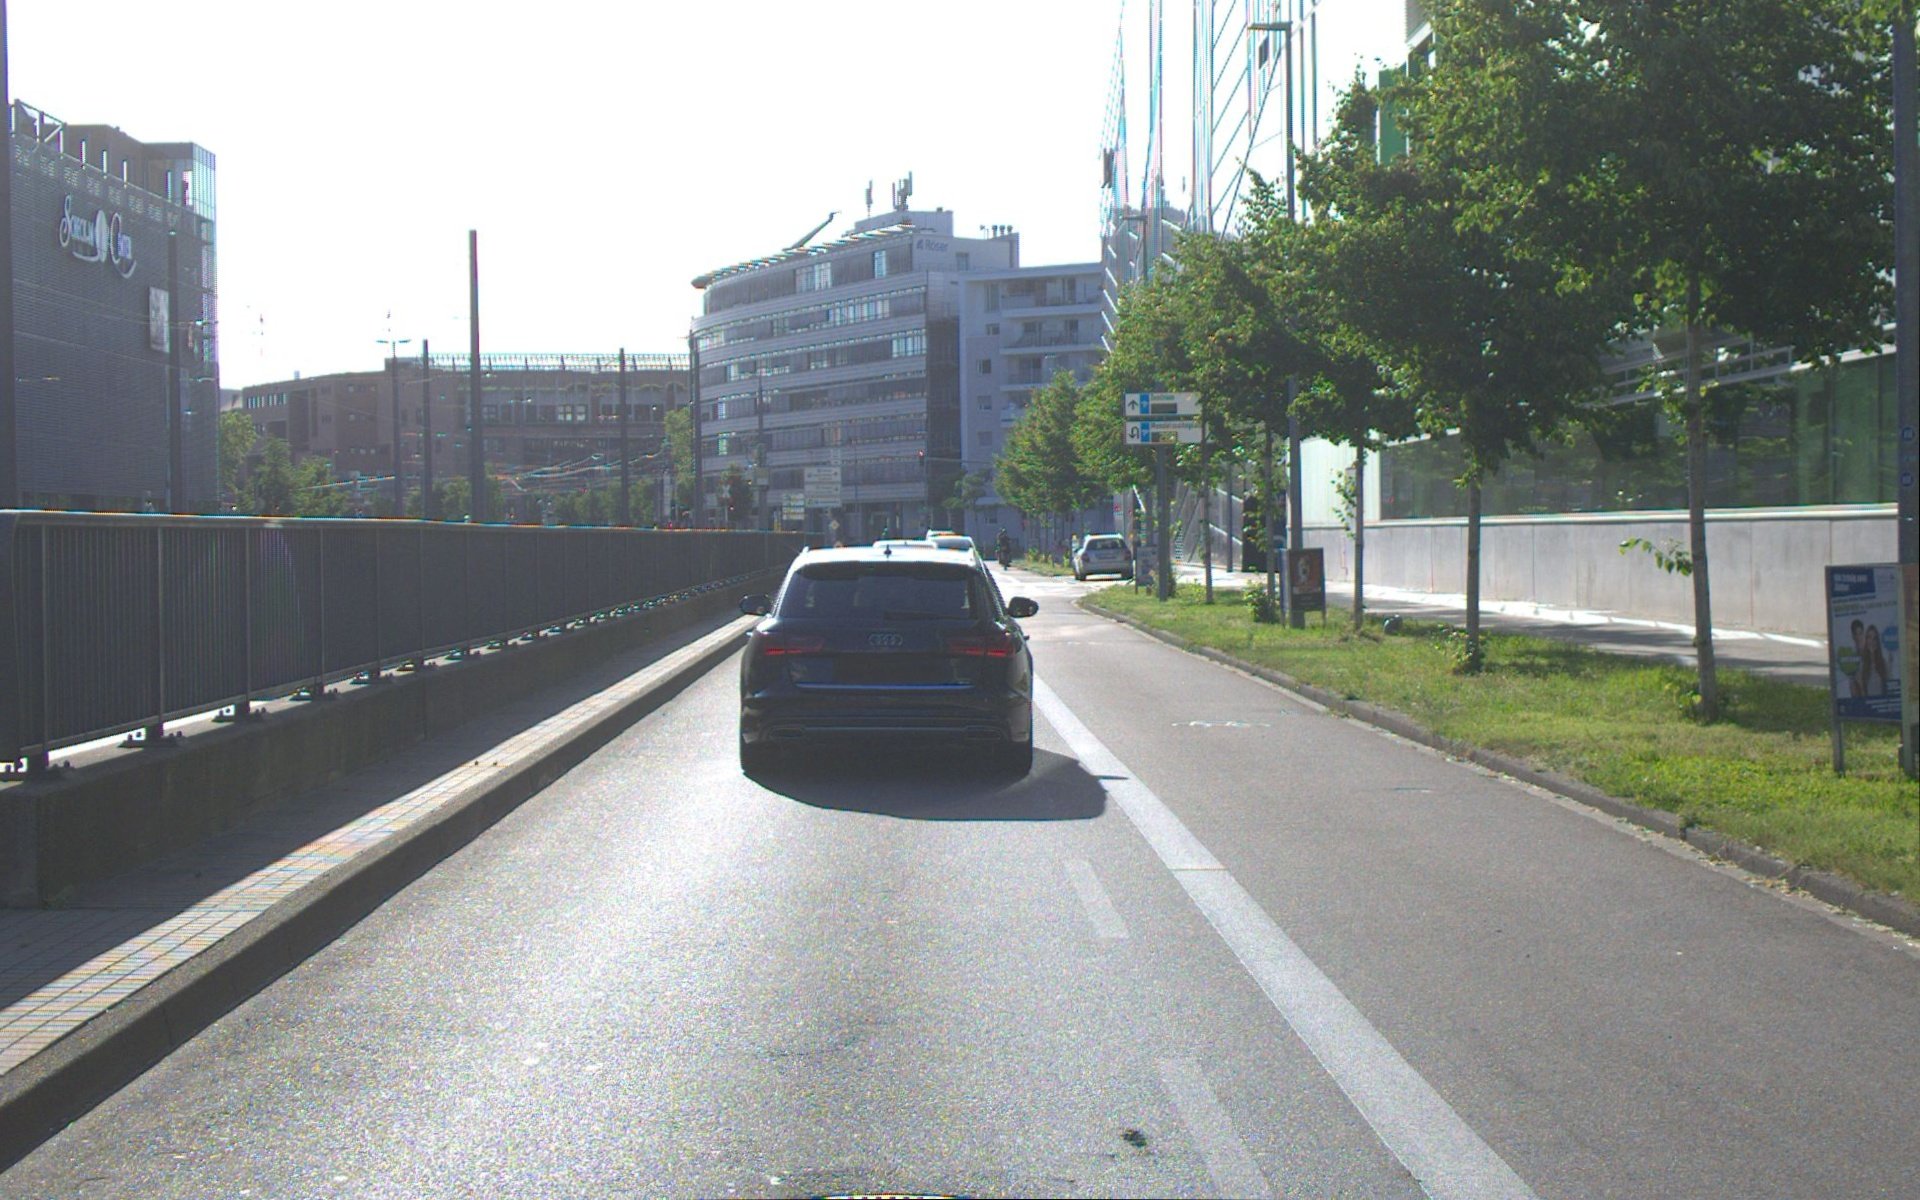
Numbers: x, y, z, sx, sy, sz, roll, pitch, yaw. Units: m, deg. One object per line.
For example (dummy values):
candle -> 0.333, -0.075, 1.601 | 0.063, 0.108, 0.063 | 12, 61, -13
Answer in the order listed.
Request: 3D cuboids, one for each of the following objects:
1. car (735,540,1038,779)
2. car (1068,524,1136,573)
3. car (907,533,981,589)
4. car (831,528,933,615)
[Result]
car -> -0.504, 0.320, 23.084 | 1.812, 1.422, 4.690 | -1, 1, -1
car -> 4.606, -1.706, 112.336 | 1.852, 1.476, 4.854 | -2, 2, -1
car -> -0.467, -1.119, 97.452 | 1.993, 1.460, 4.001 | 0, 2, -2
car -> -1.482, -0.564, 65.028 | 1.852, 1.541, 4.001 | 1, 2, -1
